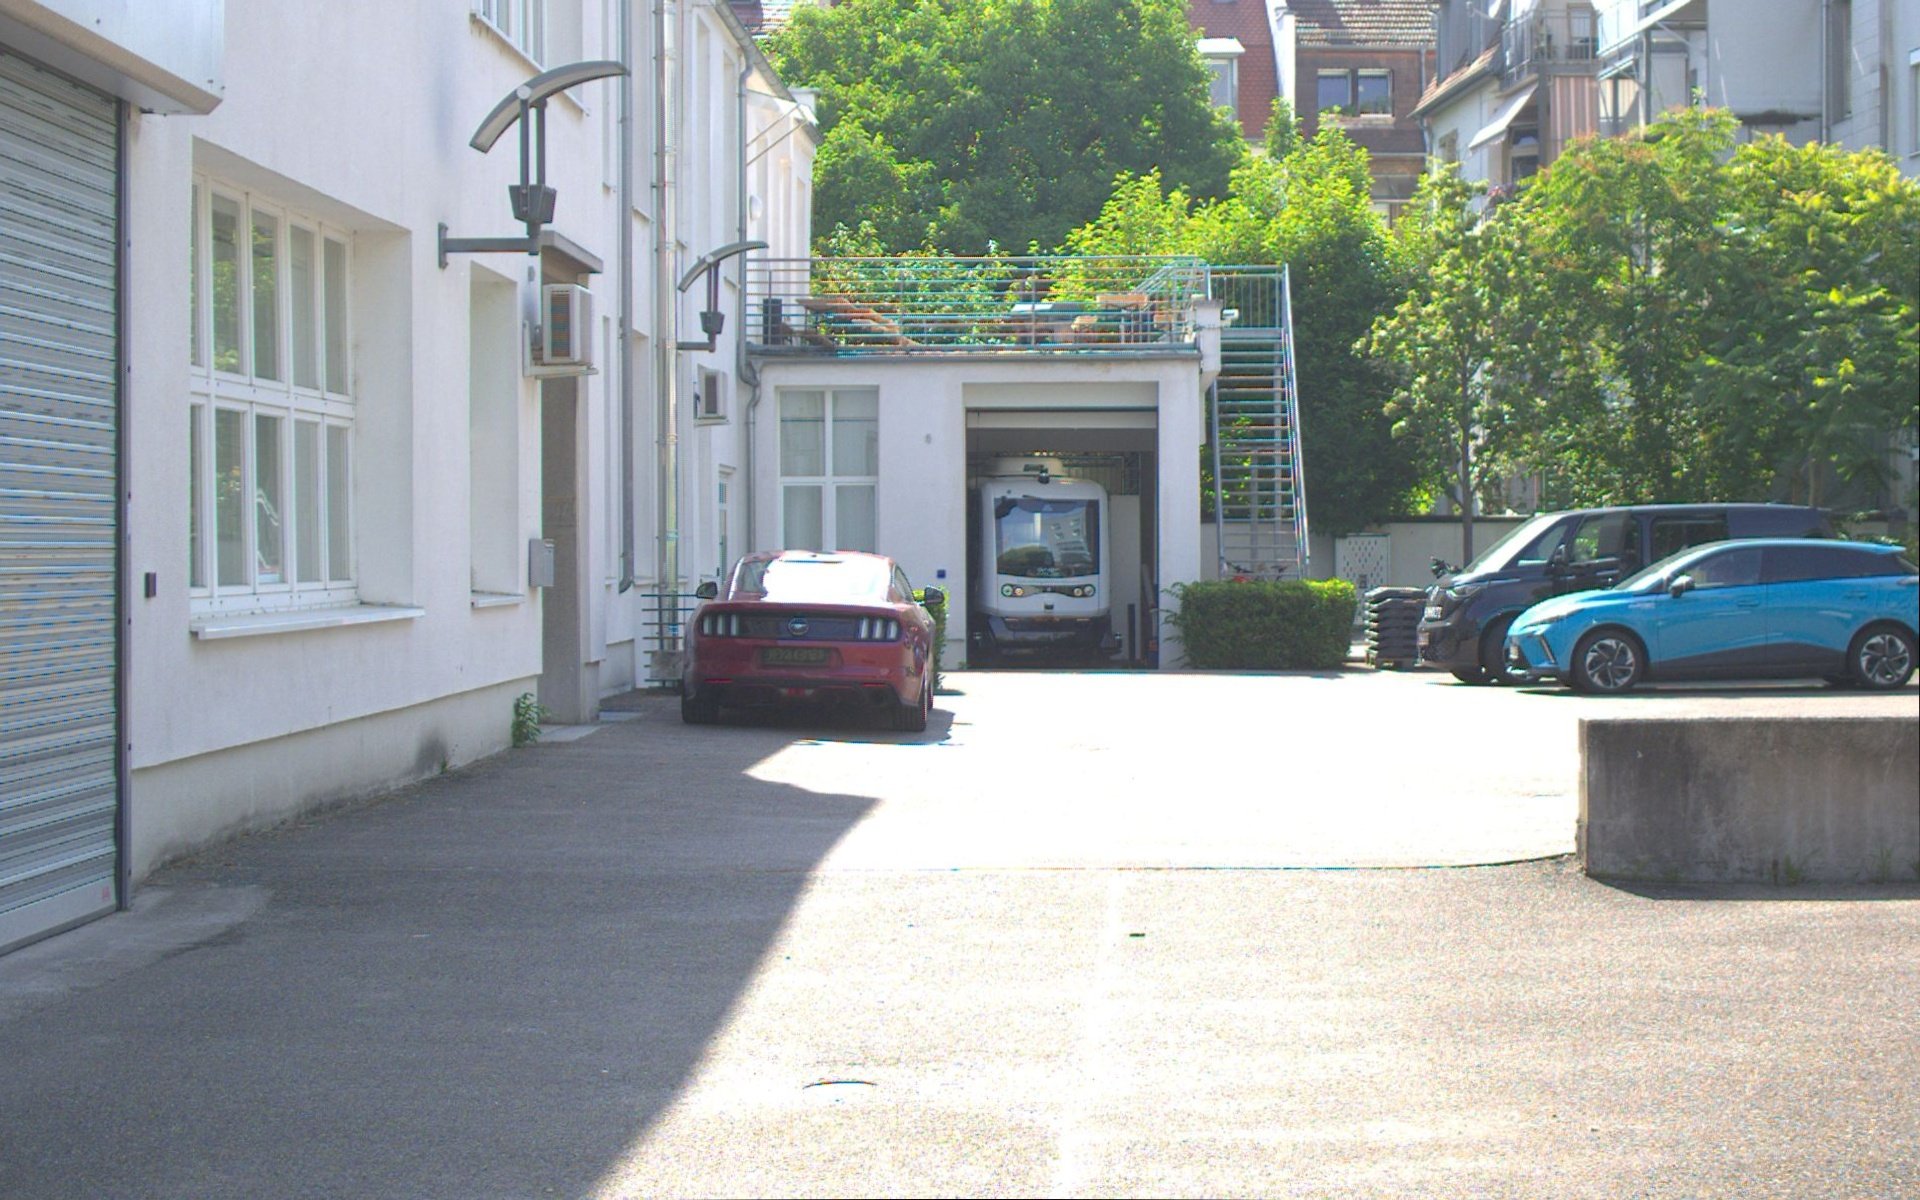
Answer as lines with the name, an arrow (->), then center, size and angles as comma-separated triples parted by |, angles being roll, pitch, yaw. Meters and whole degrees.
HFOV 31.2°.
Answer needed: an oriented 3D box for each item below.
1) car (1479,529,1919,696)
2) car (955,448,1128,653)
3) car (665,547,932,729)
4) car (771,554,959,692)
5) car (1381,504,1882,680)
car -> 7.498, 0.100, 34.485 | 4.229, 1.527, 2.000 | -1, 2, -1
car -> 1.196, -0.655, 47.598 | 2.174, 2.598, 6.734 | -1, 0, 3
car -> -1.234, 0.256, 27.874 | 1.852, 1.315, 4.000 | 1, 1, 1
car -> -0.912, 0.193, 34.760 | 1.614, 1.291, 3.758 | -1, 1, 3
car -> 7.329, -0.124, 37.745 | 4.950, 1.761, 2.097 | -1, 2, -10
